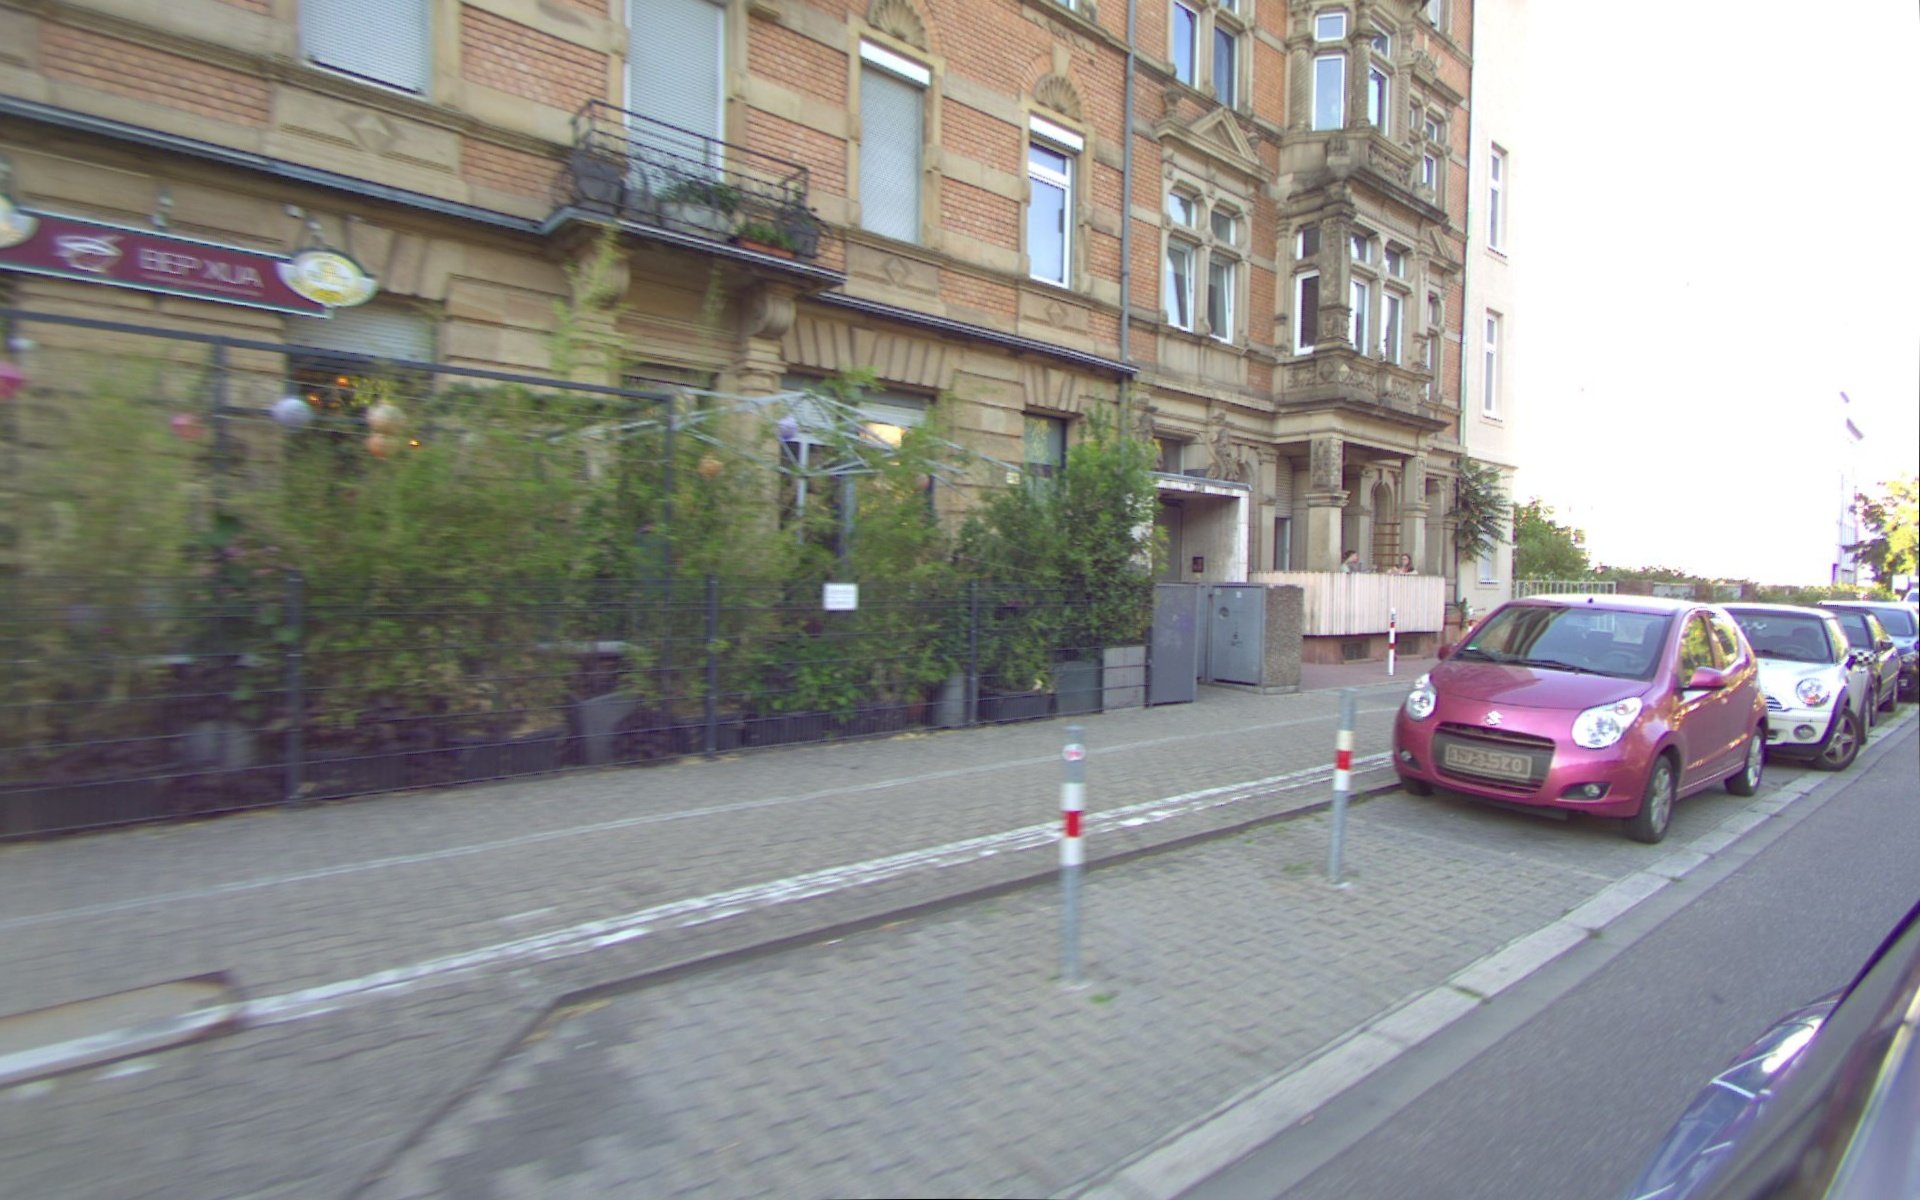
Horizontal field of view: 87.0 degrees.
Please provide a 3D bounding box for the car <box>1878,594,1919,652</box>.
[{"bbox_3d":[25.737,0.603,26.685,4.563,1.401,1.732,0,5,-42],"label":"car"}]

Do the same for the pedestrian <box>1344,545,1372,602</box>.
[{"bbox_3d":[7.294,-0.481,18.554,0.313,1.042,0.404,0,-1,-9],"label":"pedestrian"}]

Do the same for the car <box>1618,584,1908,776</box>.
[{"bbox_3d":[8.081,0.627,10.080,3.615,1.443,1.680,-1,5,-43],"label":"car"}]

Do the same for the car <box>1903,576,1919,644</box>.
[{"bbox_3d":[30.130,0.332,30.422,5.087,1.941,1.892,0,5,-40],"label":"car"}]

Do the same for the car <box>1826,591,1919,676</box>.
[{"bbox_3d":[18.434,0.605,19.791,3.775,1.443,1.750,0,5,-42],"label":"car"}]

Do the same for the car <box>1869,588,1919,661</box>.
[{"bbox_3d":[22.148,0.550,23.107,3.828,1.505,1.703,-1,5,-44],"label":"car"}]

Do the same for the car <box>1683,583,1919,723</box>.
[{"bbox_3d":[11.411,0.577,13.503,4.267,1.443,1.892,0,5,-42],"label":"car"}]

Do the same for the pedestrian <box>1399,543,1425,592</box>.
[{"bbox_3d":[8.225,-0.585,18.423,0.313,0.881,0.310,0,-1,-9],"label":"pedestrian"}]

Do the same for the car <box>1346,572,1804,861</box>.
[{"bbox_3d":[4.534,0.615,7.306,3.484,1.482,1.731,0,5,-40],"label":"car"}]

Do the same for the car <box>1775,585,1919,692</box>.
[{"bbox_3d":[15.301,0.550,16.934,4.388,1.465,1.891,-1,5,-43],"label":"car"}]
